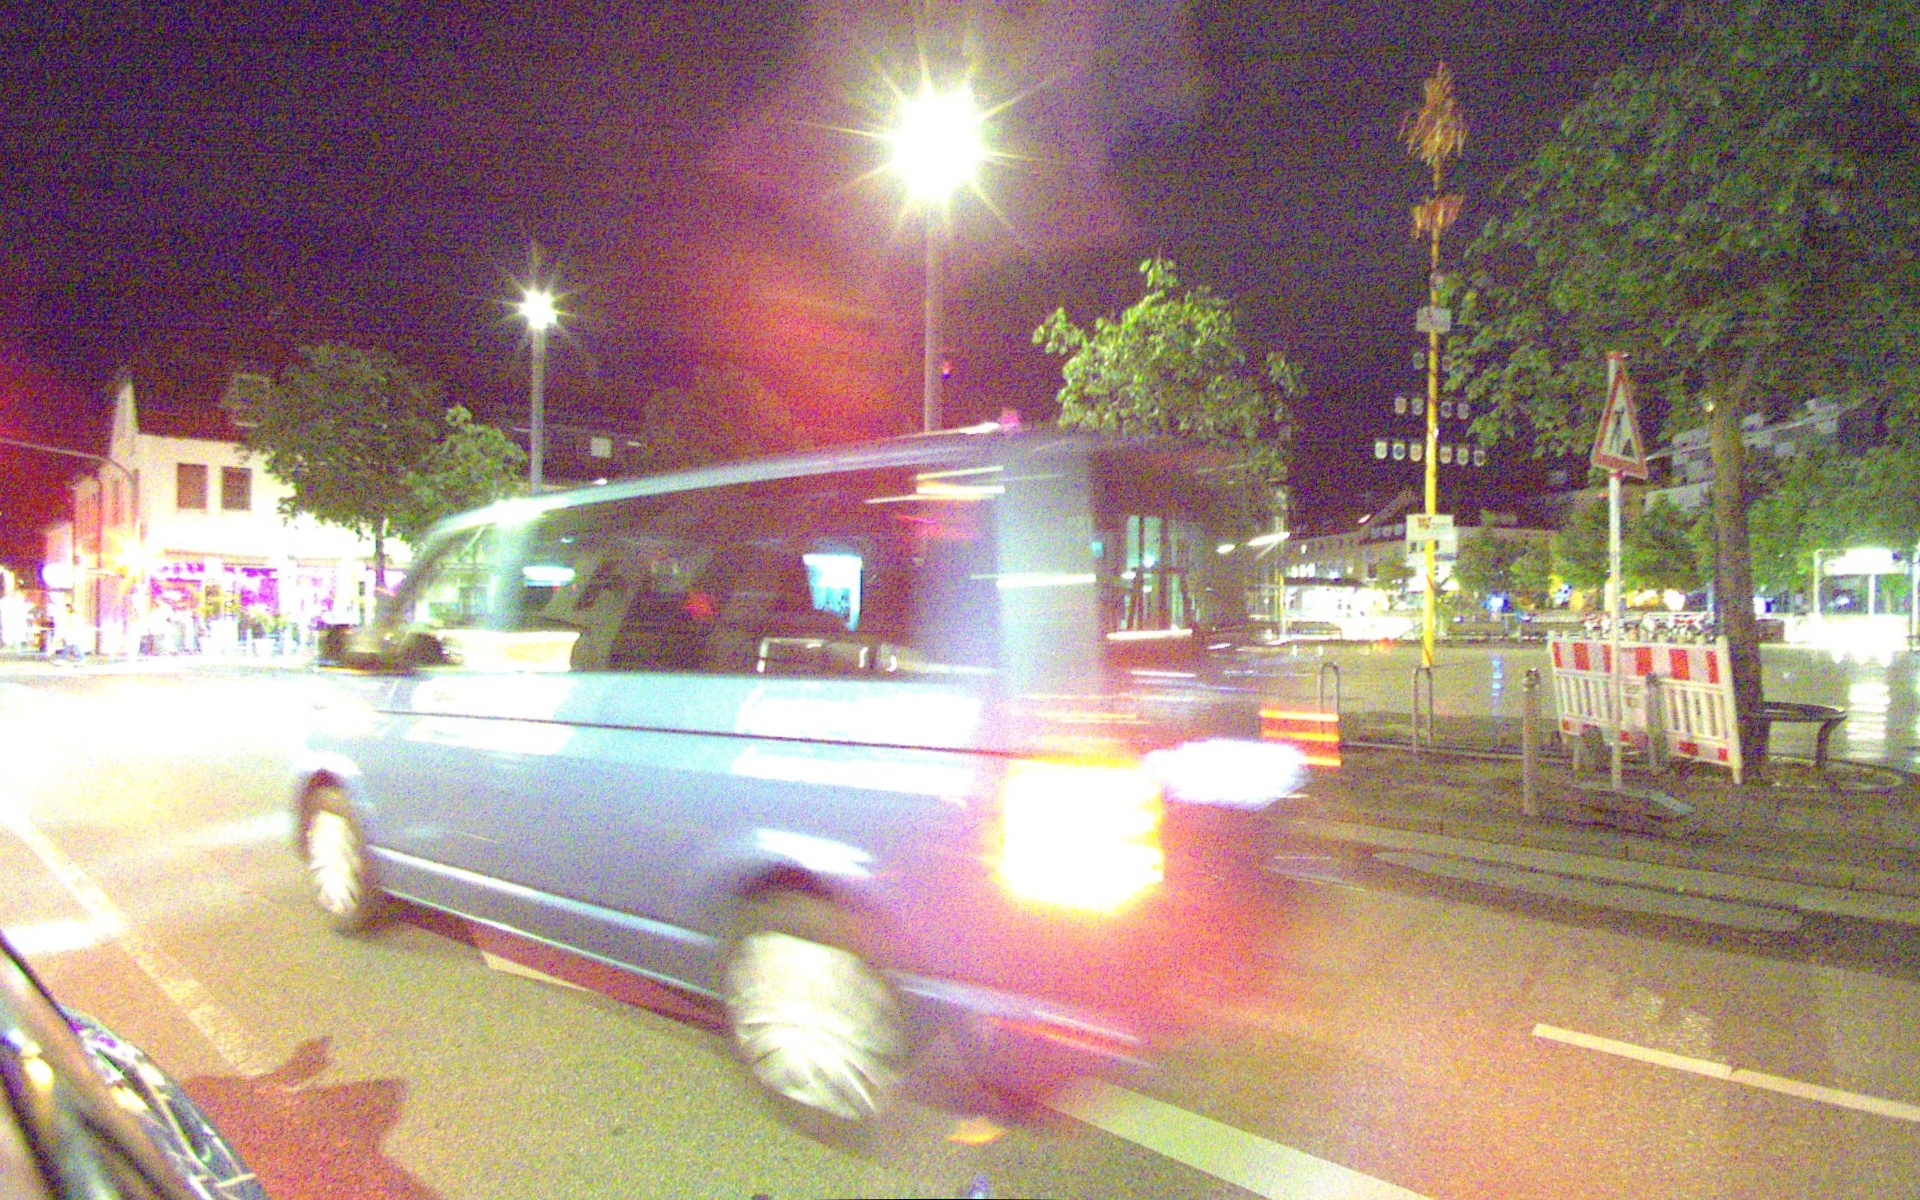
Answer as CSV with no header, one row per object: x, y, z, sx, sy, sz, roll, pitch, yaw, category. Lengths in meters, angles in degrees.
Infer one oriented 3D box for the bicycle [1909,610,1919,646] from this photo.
26.373,0.739,26.950,1.525,0.965,0.476,-1,0,25,bicycle

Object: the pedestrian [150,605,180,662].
-23.468,0.975,29.873,0.573,1.640,0.649,-1,0,-27,pedestrian

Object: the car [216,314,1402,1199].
-1.005,0.427,4.182,4.902,1.886,1.949,-1,-1,36,car

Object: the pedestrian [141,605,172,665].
-23.208,1.008,29.229,0.573,1.694,0.649,-1,0,-27,pedestrian

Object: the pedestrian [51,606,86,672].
-23.358,1.000,26.534,0.531,1.694,0.649,-1,0,-27,pedestrian
